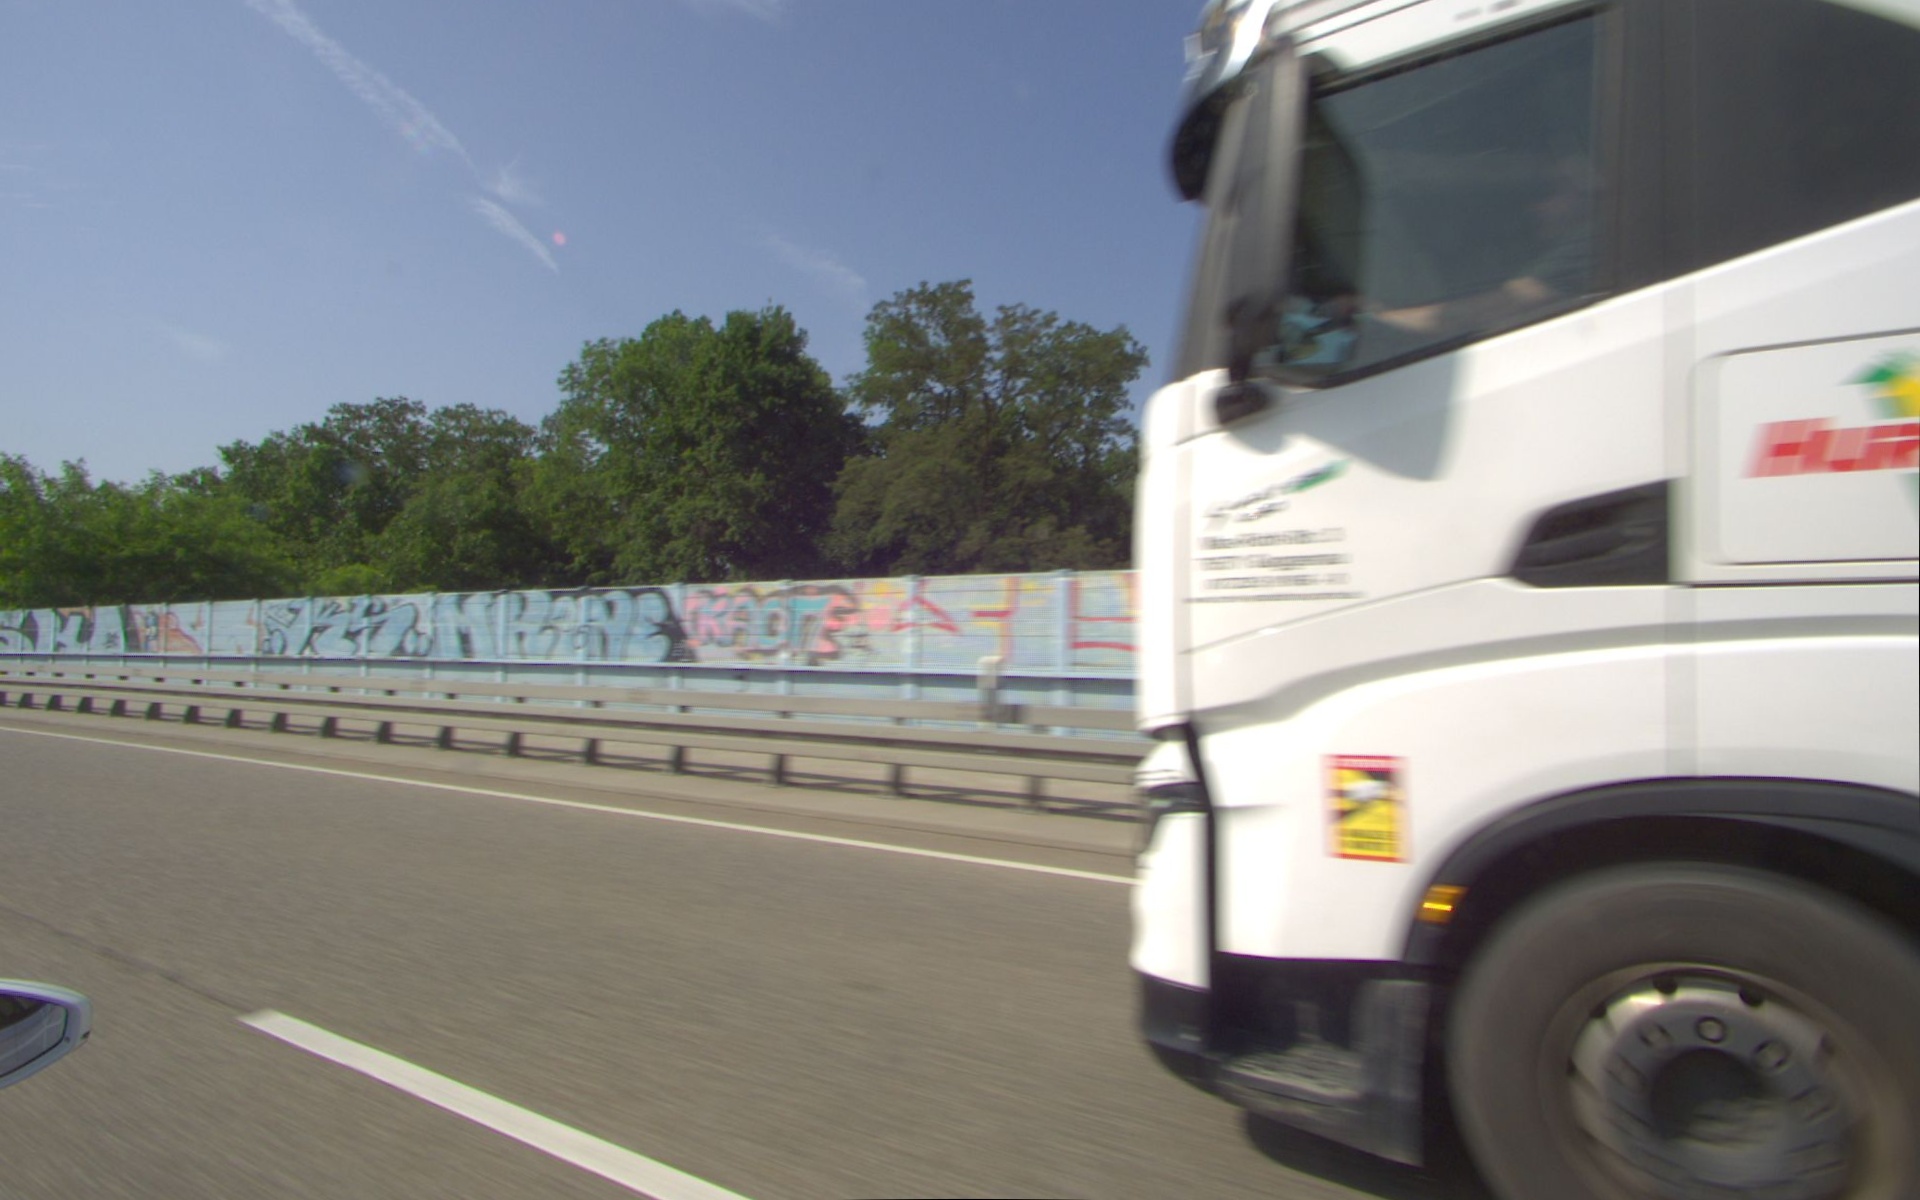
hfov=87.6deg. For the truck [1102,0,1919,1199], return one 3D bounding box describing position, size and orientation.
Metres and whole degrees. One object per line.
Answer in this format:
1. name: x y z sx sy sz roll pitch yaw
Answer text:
1. truck: 3.420 -0.538 2.278 5.568 3.946 2.654 -1 -1 33
